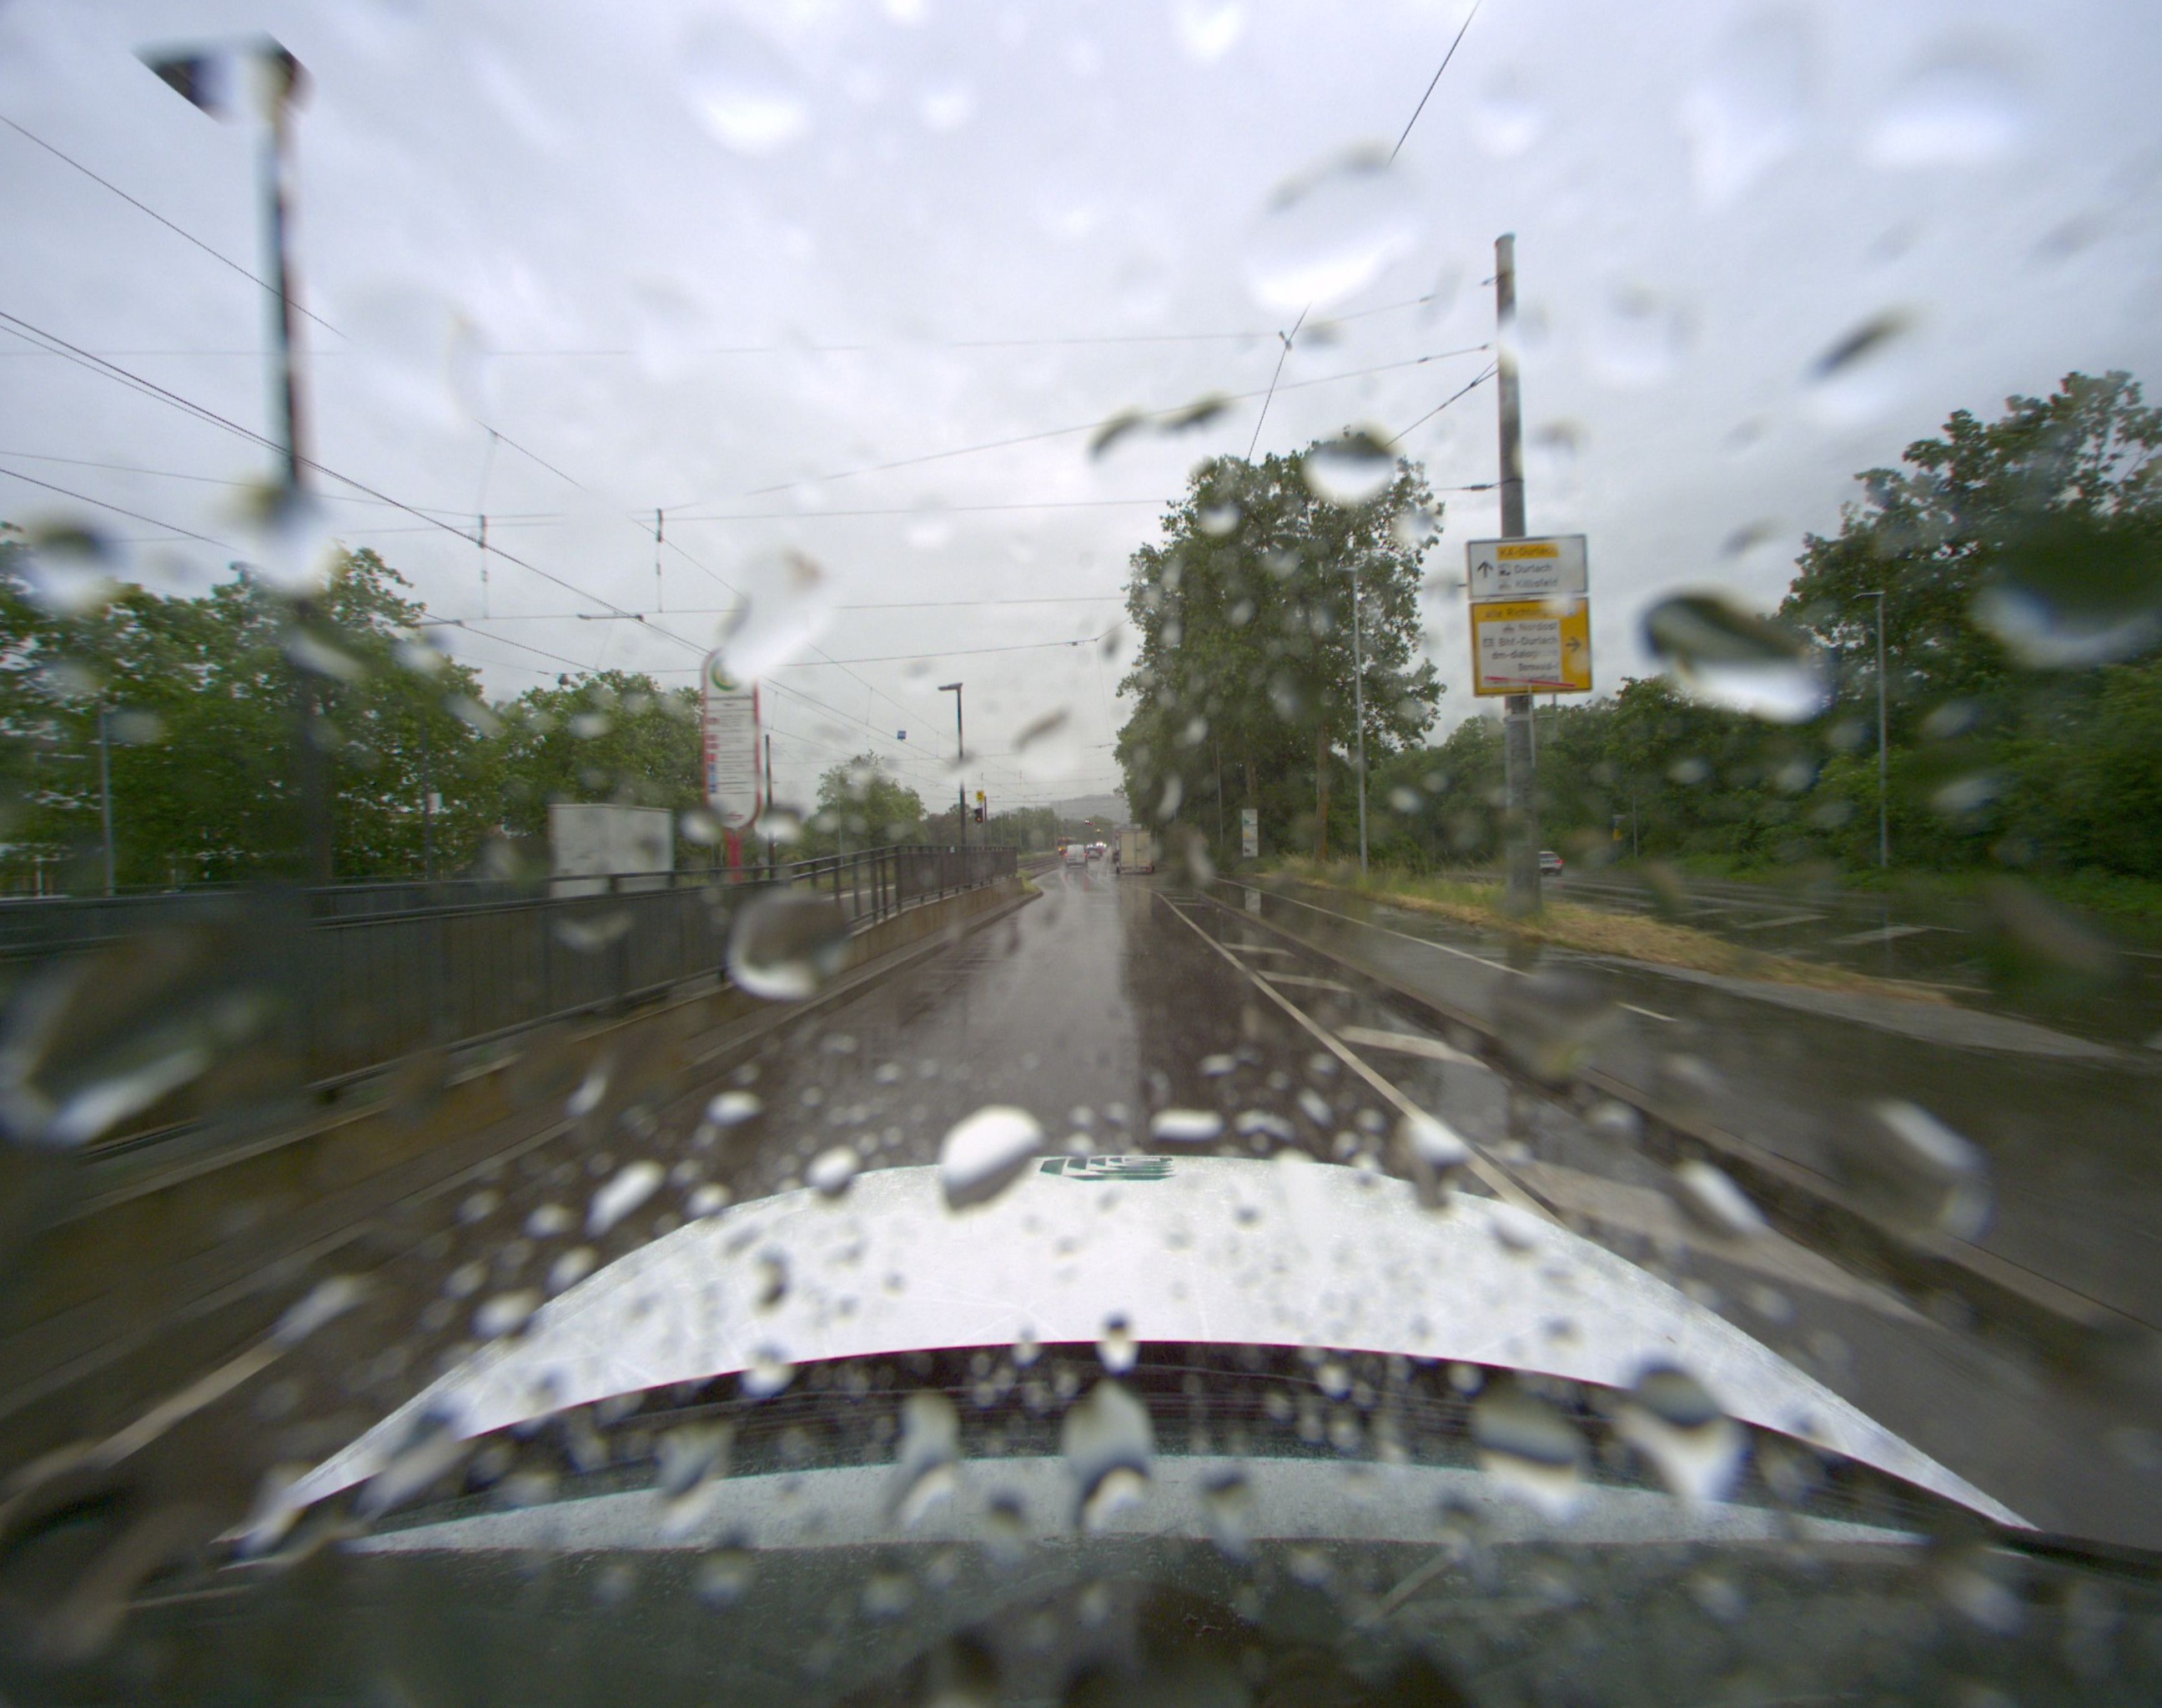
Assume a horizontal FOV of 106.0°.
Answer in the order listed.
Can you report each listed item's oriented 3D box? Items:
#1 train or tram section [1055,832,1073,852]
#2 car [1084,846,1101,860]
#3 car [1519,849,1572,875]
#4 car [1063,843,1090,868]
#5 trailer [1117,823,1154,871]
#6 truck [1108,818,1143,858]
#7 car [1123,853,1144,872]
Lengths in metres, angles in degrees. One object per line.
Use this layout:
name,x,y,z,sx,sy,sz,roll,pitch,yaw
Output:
train or tram section,-3.416,-2.502,170.697,2.795,4.149,13.028,-1,1,3
car,1.382,-0.136,96.558,1.779,1.642,3.970,-1,0,2
car,27.702,0.443,48.659,1.873,1.431,4.018,-1,0,17
car,-0.373,0.100,64.010,1.988,1.848,3.998,-1,0,-2
trailer,3.427,-0.401,50.602,2.156,2.757,5.684,-1,0,5
truck,4.355,-1.478,81.940,2.767,3.704,9.847,-1,0,-1
car,4.425,0.681,68.556,1.705,1.529,4.005,-1,1,4
